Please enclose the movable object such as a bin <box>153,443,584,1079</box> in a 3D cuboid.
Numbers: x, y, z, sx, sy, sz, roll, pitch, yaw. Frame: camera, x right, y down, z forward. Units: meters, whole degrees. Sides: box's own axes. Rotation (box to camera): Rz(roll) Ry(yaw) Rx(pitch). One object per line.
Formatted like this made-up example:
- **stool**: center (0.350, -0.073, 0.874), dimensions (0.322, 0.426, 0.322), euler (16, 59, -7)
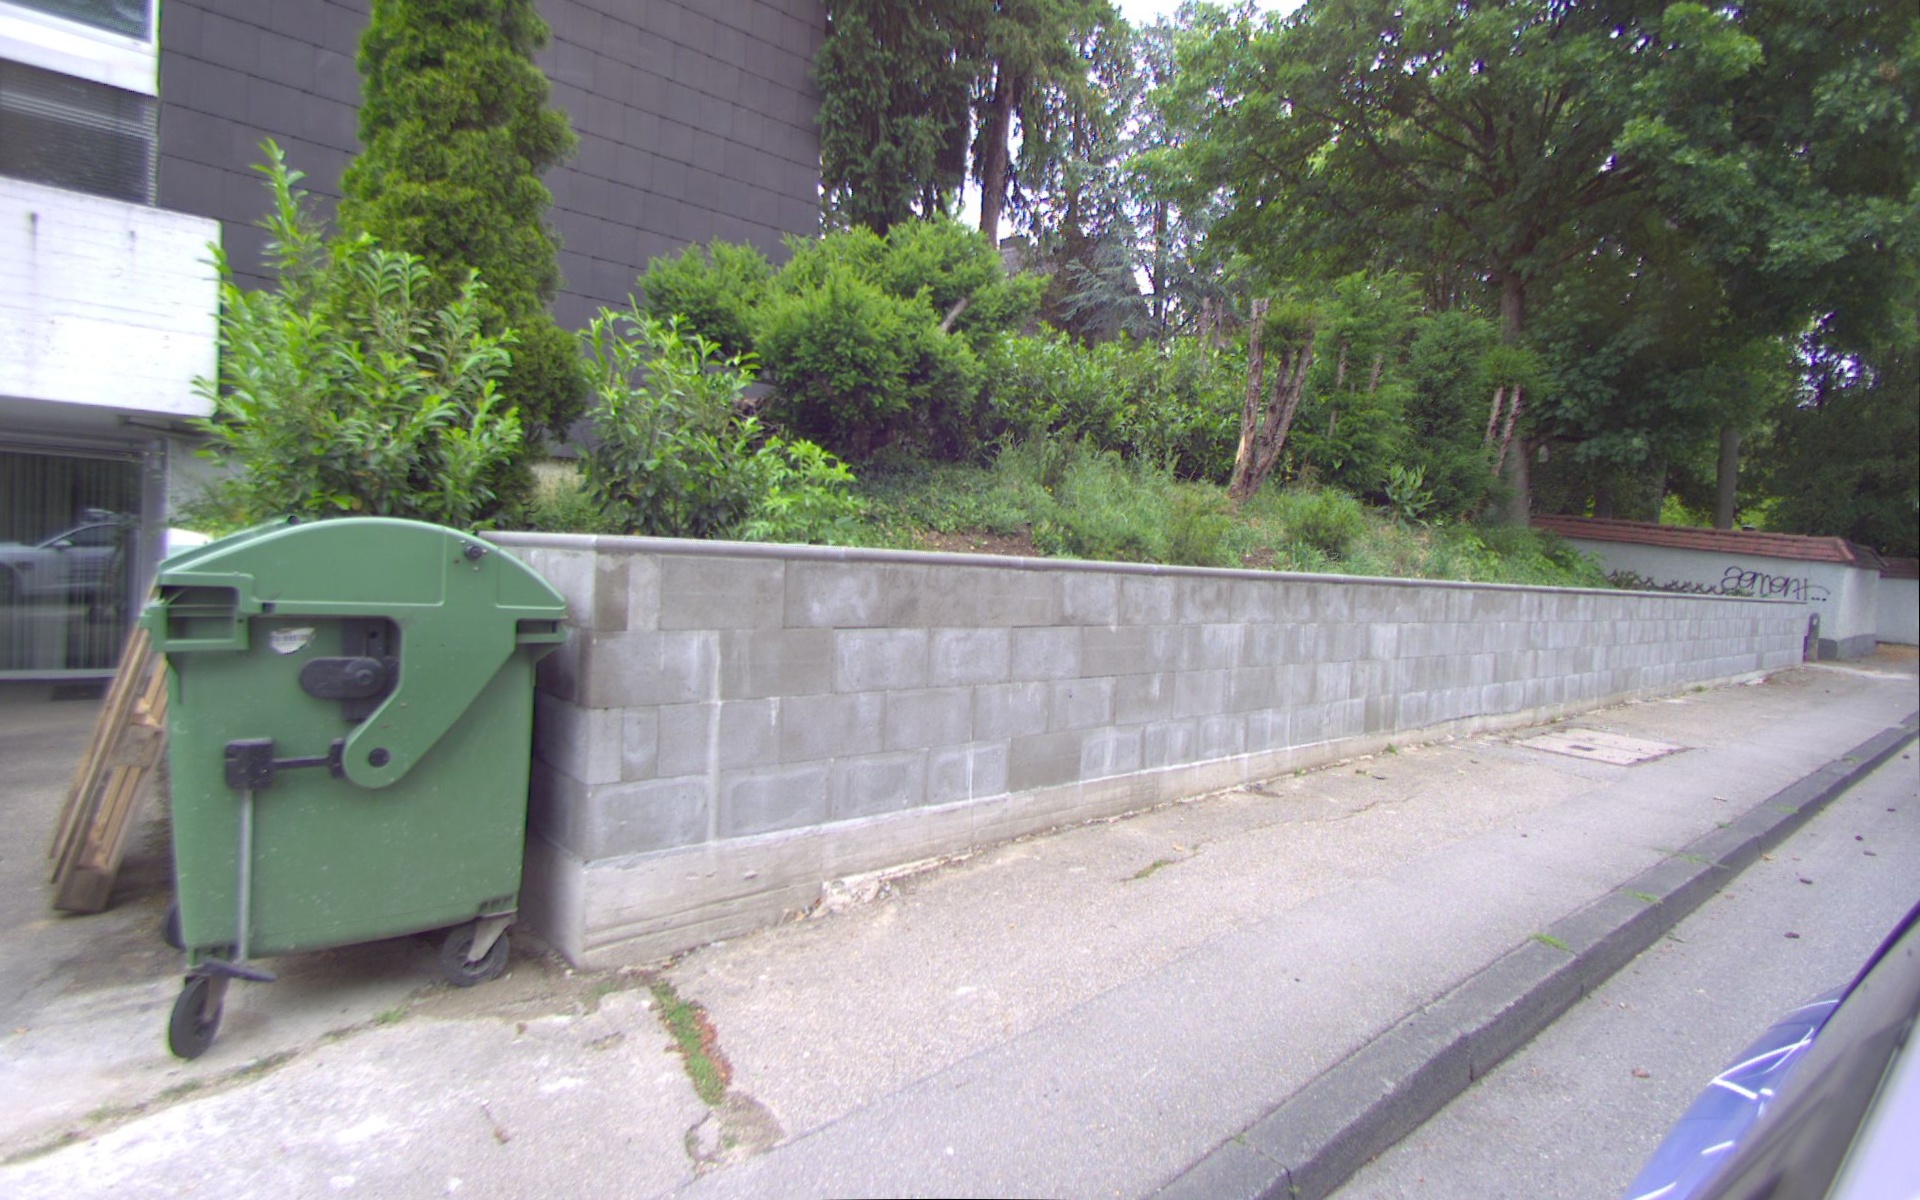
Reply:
- **movable object such as a bin**: center (-1.876, 0.369, 3.179), dimensions (1.014, 1.549, 1.037), euler (0, 2, -39)
